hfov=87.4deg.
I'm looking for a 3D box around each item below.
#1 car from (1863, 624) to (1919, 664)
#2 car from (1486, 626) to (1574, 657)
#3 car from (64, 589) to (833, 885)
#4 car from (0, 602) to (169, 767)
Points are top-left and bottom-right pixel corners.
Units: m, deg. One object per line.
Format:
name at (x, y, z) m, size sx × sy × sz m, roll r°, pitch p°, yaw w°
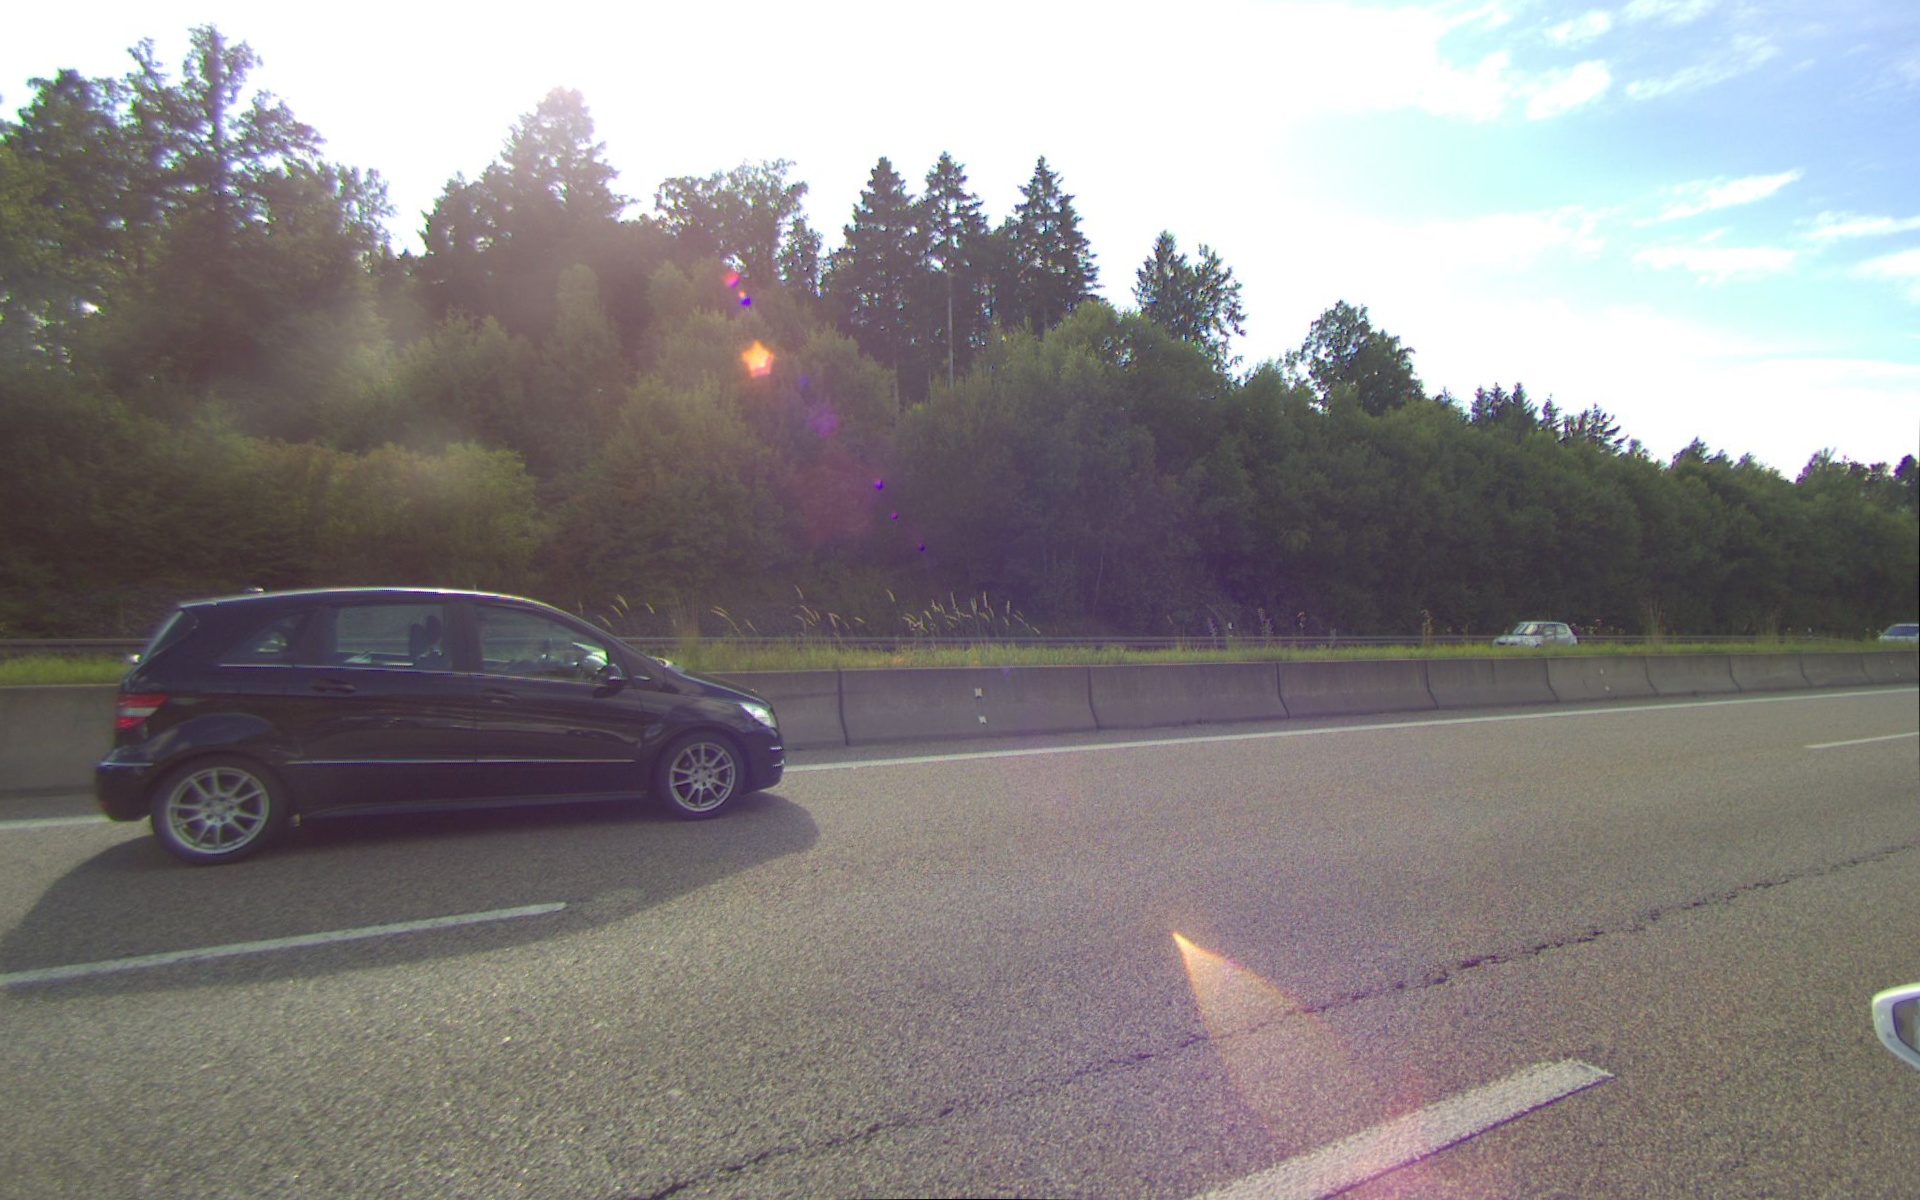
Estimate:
car at (45.906, 2.113, 48.710) m, size 4.440 × 1.829 × 1.915 m, roll 1°, pitch -1°, yaw -30°
car at (21.899, 1.574, 38.590) m, size 3.136 × 1.108 × 1.584 m, roll 1°, pitch -1°, yaw -30°
car at (-3.238, 0.753, 7.095) m, size 4.282 × 1.537 × 1.827 m, roll 1°, pitch -1°, yaw -30°
car at (-14.631, 1.087, 13.517) m, size 5.895 × 2.167 × 2.567 m, roll 1°, pitch -1°, yaw -30°
